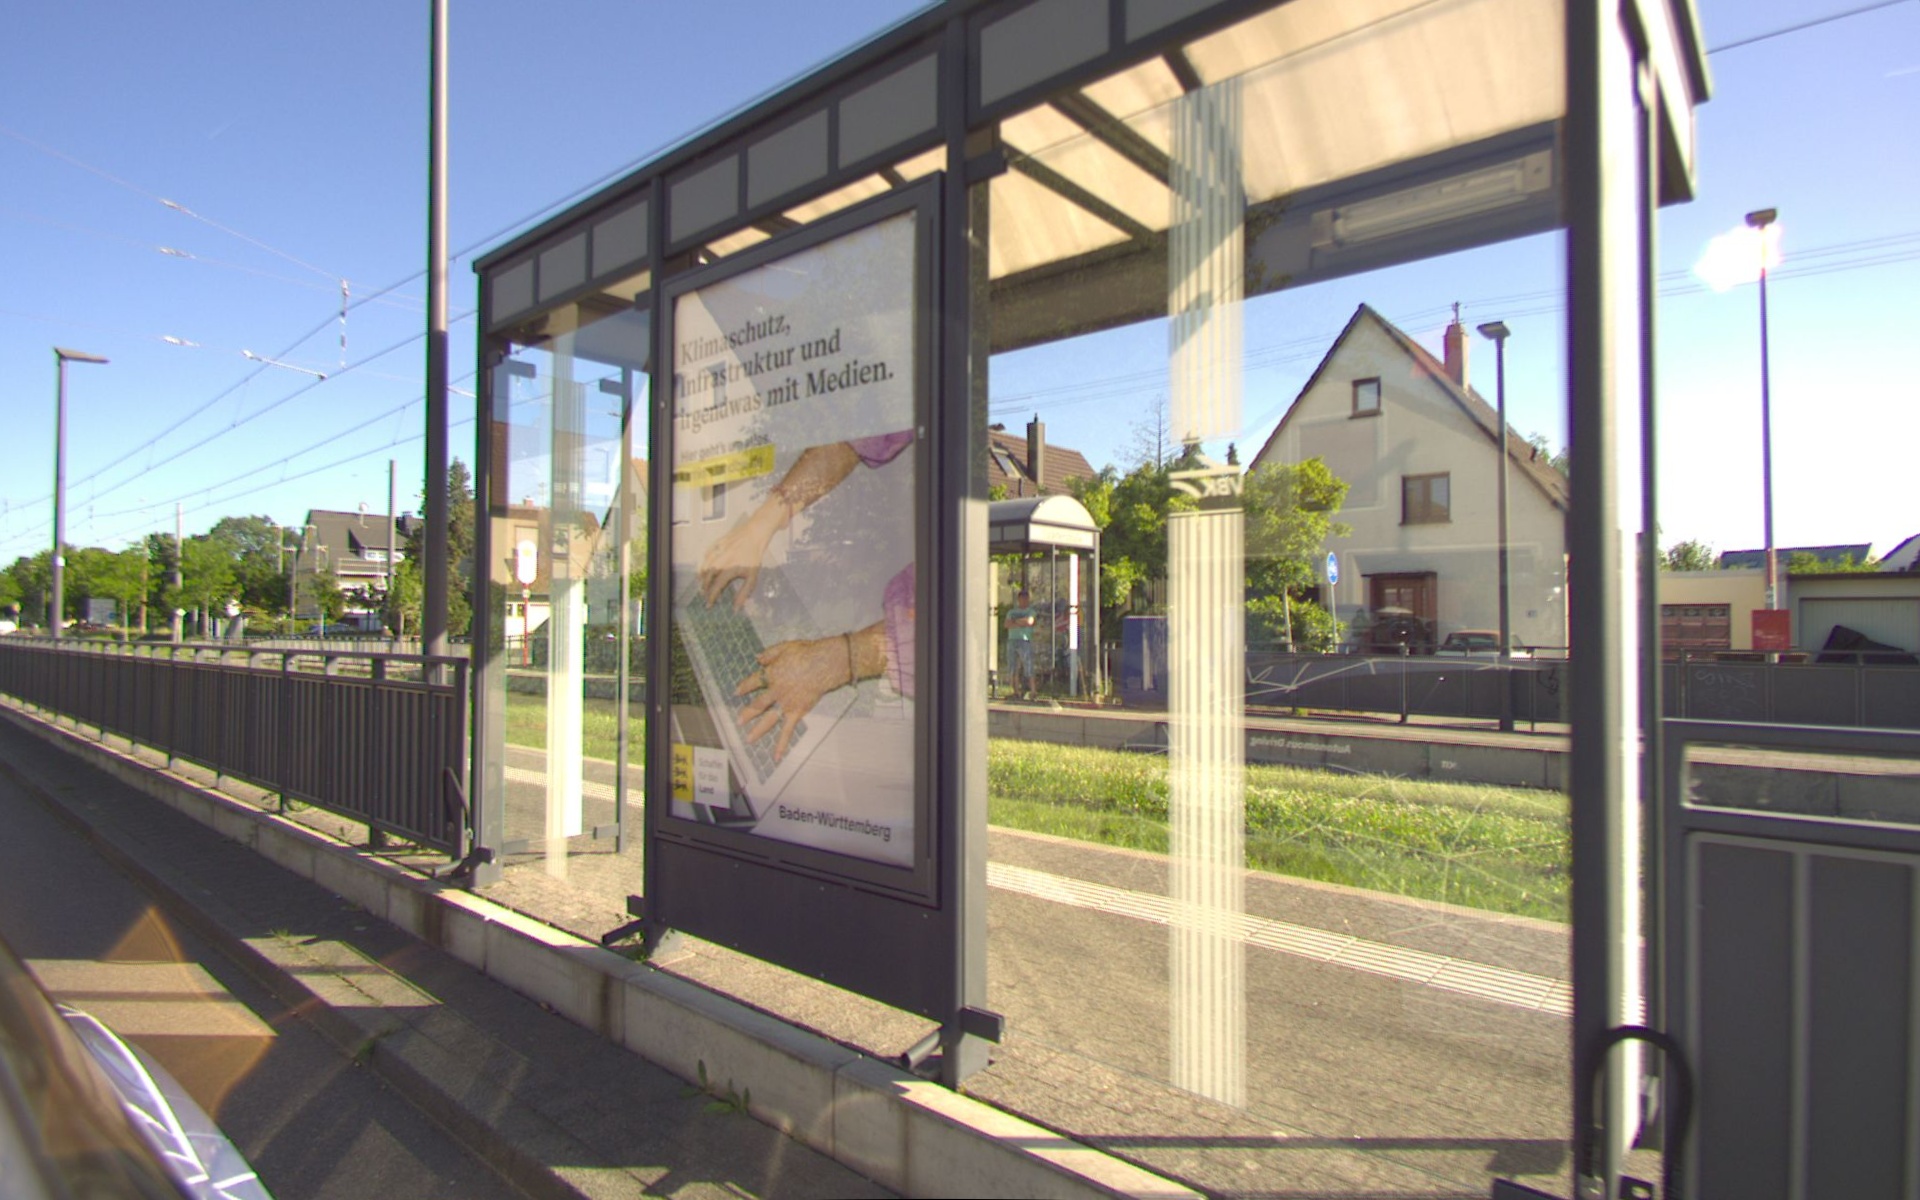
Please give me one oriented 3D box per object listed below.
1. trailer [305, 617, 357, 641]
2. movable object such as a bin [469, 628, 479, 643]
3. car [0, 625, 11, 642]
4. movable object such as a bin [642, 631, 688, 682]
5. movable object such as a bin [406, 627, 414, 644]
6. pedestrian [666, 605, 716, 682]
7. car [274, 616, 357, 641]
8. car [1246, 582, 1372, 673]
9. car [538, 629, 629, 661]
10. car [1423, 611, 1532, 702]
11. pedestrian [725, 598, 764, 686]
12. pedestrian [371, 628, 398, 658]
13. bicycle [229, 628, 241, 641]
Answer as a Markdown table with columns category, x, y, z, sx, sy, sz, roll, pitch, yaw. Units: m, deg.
| category | x | y | z | sx | sy | sz | roll | pitch | yaw |
| --- | --- | --- | --- | --- | --- | --- | --- | --- | --- |
| trailer | -45.636 | 2.112 | 73.447 | 1.397 | 1.660 | 2.885 | -1 | -2 | 38 |
| movable object such as a bin | -29.336 | 2.139 | 61.129 | 0.451 | 0.904 | 0.367 | -1 | -1 | 37 |
| car | -113.342 | 3.947 | 119.203 | 4.701 | 1.929 | 1.877 | -2 | -3 | 42 |
| movable object such as a bin | -5.930 | 1.124 | 20.345 | 0.740 | 0.995 | 0.541 | -2 | -3 | 37 |
| movable object such as a bin | -31.539 | 2.046 | 58.050 | 0.333 | 0.973 | 0.295 | -1 | -1 | 37 |
| pedestrian | -5.550 | 0.895 | 20.867 | 0.748 | 1.547 | 0.669 | -2 | -3 | 37 |
| car | -45.334 | 2.027 | 71.281 | 2.044 | 1.748 | 4.509 | -1 | -3 | 29 |
| car | 8.434 | 0.607 | 24.250 | 1.927 | 1.984 | 3.955 | -1 | 0 | 33 |
| car | -18.414 | 2.178 | 49.368 | 5.160 | 1.461 | 1.914 | -1 | -2 | 41 |
| car | 11.761 | 1.181 | 22.870 | 1.794 | 1.820 | 3.813 | -1 | 0 | 33 |
| pedestrian | -4.317 | 0.840 | 20.300 | 0.580 | 1.721 | 0.515 | -2 | -3 | 37 |
| pedestrian | -32.071 | 2.370 | 56.378 | 1.085 | 1.653 | 0.955 | -1 | -2 | 41 |
| bicycle | -58.203 | 2.762 | 81.269 | 1.748 | 0.949 | 0.419 | -1 | 0 | 41 |
